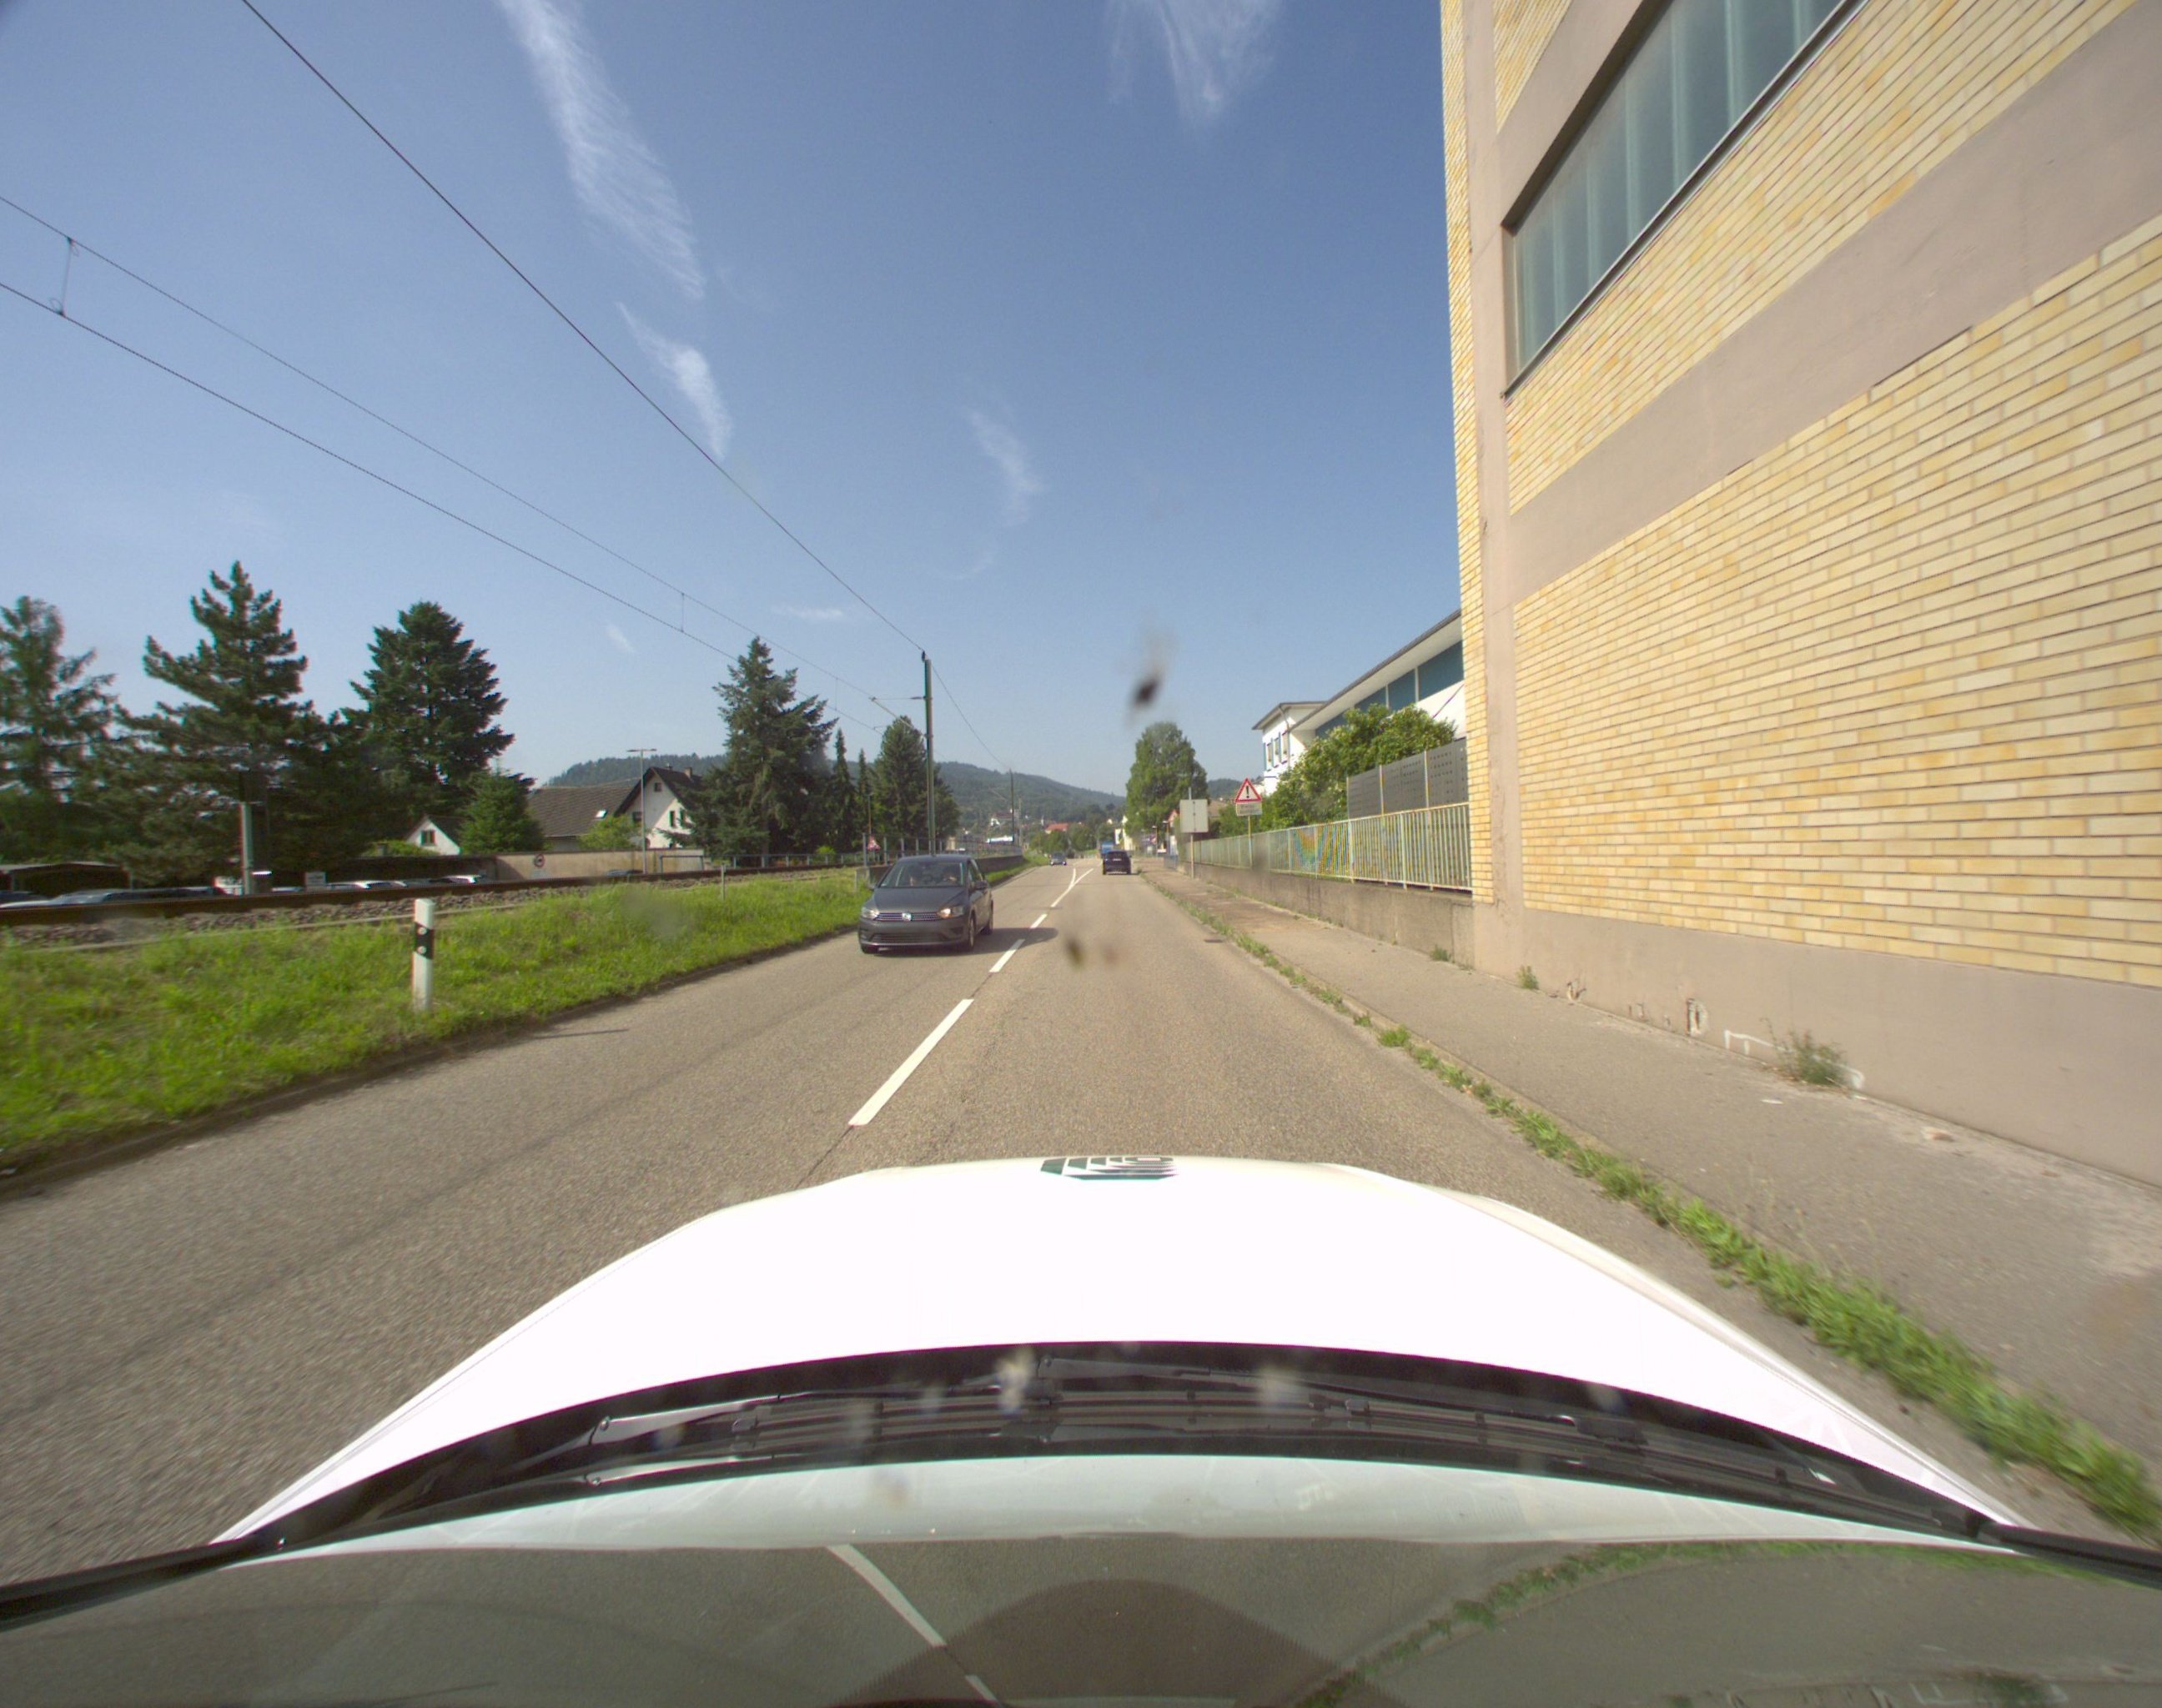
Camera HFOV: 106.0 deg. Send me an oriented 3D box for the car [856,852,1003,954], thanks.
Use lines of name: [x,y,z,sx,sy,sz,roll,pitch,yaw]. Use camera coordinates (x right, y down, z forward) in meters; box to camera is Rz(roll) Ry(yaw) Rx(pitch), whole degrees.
car: [-2.500,0.746,14.437,1.725,1.526,4.093,-1,0,1]

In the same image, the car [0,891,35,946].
car: [-35.577,2.120,25.237,1.625,1.688,3.830,-2,0,37]

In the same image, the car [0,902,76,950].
car: [-33.100,2.237,24.487,1.438,1.325,3.560,-3,0,38]

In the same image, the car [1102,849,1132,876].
car: [2.446,0.536,54.424,1.911,1.640,4.004,-2,0,3]

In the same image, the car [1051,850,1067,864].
car: [-2.492,0.367,91.749,1.736,1.507,4.198,-1,0,-1]

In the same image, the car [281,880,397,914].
car: [-37.697,2.165,41.446,3.984,1.536,1.813,-1,0,-8]

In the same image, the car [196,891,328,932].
car: [-32.965,2.289,32.856,1.438,1.325,3.560,-3,0,38]

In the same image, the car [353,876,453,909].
car: [-38.725,2.176,46.615,3.984,1.665,1.813,-1,0,-8]

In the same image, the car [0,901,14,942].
car: [-37.626,2.329,26.446,1.438,1.325,3.560,-3,0,38]

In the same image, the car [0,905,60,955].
car: [-31.388,2.228,22.718,1.438,1.325,3.560,-3,0,38]

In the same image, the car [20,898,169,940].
car: [-38.696,2.519,32.038,3.529,1.325,1.451,-3,0,-13]

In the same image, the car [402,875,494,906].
car: [-38.384,2.194,49.487,3.984,1.665,1.813,-1,0,-8]

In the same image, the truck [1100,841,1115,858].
truck: [4.804,-0.858,146.875,2.306,2.970,5.963,-2,0,-1]
